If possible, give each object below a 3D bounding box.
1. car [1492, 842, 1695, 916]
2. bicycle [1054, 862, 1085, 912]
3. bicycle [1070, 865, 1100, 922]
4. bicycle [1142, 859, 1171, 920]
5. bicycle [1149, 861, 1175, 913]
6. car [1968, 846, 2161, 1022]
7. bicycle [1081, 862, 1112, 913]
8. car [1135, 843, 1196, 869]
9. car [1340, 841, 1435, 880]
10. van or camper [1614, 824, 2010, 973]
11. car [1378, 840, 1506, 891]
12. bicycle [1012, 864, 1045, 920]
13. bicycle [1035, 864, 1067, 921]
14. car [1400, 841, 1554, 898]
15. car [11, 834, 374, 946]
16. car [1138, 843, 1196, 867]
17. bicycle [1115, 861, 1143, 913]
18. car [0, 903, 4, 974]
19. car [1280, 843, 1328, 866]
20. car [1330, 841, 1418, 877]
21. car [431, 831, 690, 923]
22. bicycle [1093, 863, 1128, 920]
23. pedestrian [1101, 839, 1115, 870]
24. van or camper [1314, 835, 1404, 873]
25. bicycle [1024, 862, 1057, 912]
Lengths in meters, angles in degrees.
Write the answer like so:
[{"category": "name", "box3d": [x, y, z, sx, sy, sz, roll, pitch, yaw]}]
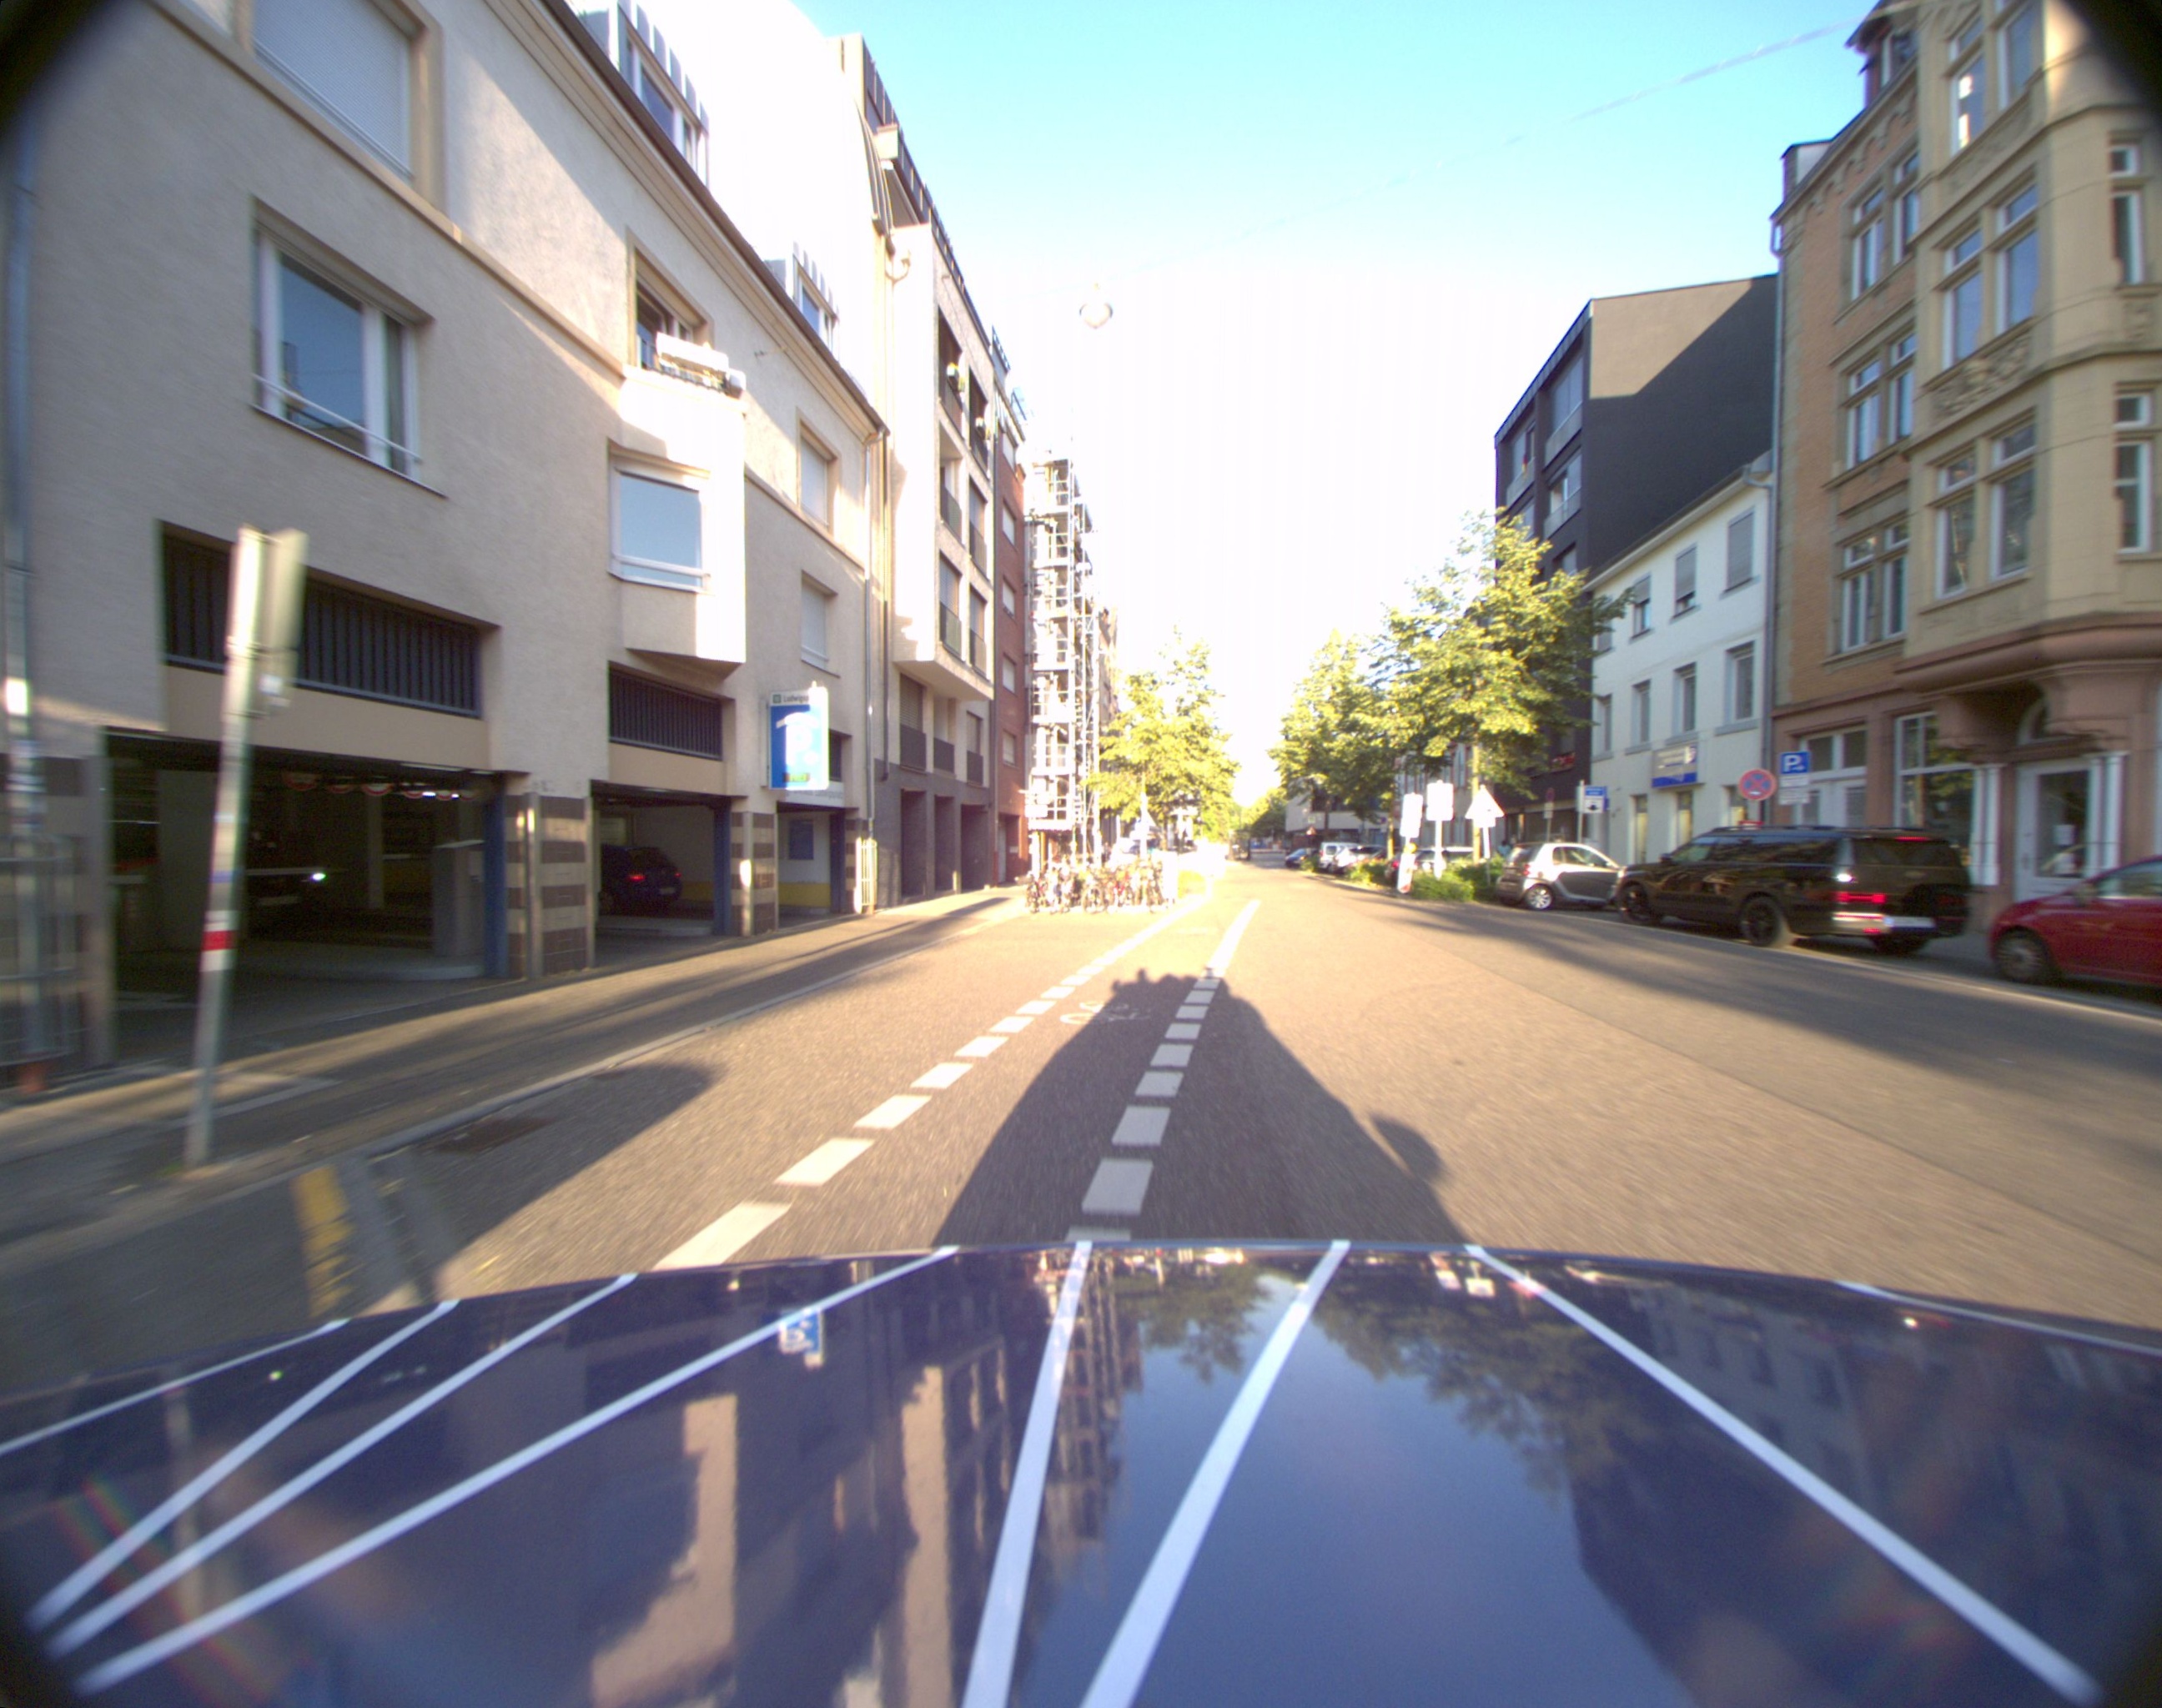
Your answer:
[{"category": "car", "box3d": [11.484, 0.523, 17.232, 3.476, 1.567, 1.508, 0, 2, 8]}, {"category": "bicycle", "box3d": [-0.276, 0.776, 18.694, 0.468, 1.137, 1.553, 0, 1, 10]}, {"category": "bicycle", "box3d": [0.100, 0.837, 16.780, 0.381, 1.153, 1.553, 0, 1, 10]}, {"category": "bicycle", "box3d": [1.665, 0.747, 16.582, 0.498, 1.213, 1.553, 0, 1, 10]}, {"category": "bicycle", "box3d": [1.971, 0.767, 18.331, 0.508, 1.172, 1.553, 0, 1, 10]}, {"category": "car", "box3d": [10.501, 0.746, 6.785, 1.528, 1.561, 3.424, 2, 2, 11]}, {"category": "bicycle", "box3d": [0.393, 0.779, 18.460, 0.488, 1.143, 1.553, 0, 1, 10]}, {"category": "car", "box3d": [5.839, 0.103, 52.470, 3.993, 1.674, 1.892, 1, 1, 12]}, {"category": "car", "box3d": [14.188, 0.258, 35.317, 3.692, 1.661, 1.859, 2, 2, 8]}, {"category": "van or camper", "box3d": [10.493, 0.496, 11.539, 1.893, 1.797, 4.461, 1, 1, 5]}, {"category": "car", "box3d": [12.849, 0.382, 27.237, 3.692, 1.661, 1.859, 2, 2, 8]}, {"category": "bicycle", "box3d": [-1.171, 0.827, 17.093, 0.387, 1.176, 1.406, 0, 1, 10]}, {"category": "bicycle", "box3d": [-0.651, 0.829, 16.926, 0.387, 1.182, 1.553, 0, 1, 10]}, {"category": "car", "box3d": [12.778, 0.447, 24.735, 4.002, 1.661, 1.859, 2, 2, 8]}, {"category": "car", "box3d": [-14.179, 0.491, 12.239, 4.293, 1.615, 1.893, 0, 1, 11]}, {"category": "car", "box3d": [6.261, 0.076, 55.139, 3.993, 1.674, 1.892, 1, 1, 12]}, {"category": "bicycle", "box3d": [1.173, 0.780, 18.462, 0.488, 1.156, 1.553, 0, 1, 10]}, {"category": "car", "box3d": [-14.765, 0.592, 8.566, 4.241, 1.564, 1.821, 1, 2, 18]}, {"category": "car", "box3d": [16.270, 0.032, 55.419, 1.852, 1.559, 3.705, 3, 2, 43]}, {"category": "car", "box3d": [14.500, 0.222, 37.802, 3.692, 1.661, 1.859, 2, 2, 8]}, {"category": "car", "box3d": [-10.196, 0.401, 15.030, 4.113, 1.554, 1.694, 2, 2, 6]}, {"category": "bicycle", "box3d": [0.670, 0.801, 16.744, 0.417, 1.150, 1.554, 1, 1, 15]}, {"category": "pedestrian", "box3d": [1.586, 0.019, 44.484, 0.742, 1.773, 0.657, 0, 2, 10]}, {"category": "van or camper", "box3d": [15.606, -0.010, 42.854, 4.448, 1.994, 1.859, 2, 2, 8]}, {"category": "bicycle", "box3d": [-0.977, 0.793, 18.765, 0.458, 1.125, 1.553, 0, 1, 10]}]
